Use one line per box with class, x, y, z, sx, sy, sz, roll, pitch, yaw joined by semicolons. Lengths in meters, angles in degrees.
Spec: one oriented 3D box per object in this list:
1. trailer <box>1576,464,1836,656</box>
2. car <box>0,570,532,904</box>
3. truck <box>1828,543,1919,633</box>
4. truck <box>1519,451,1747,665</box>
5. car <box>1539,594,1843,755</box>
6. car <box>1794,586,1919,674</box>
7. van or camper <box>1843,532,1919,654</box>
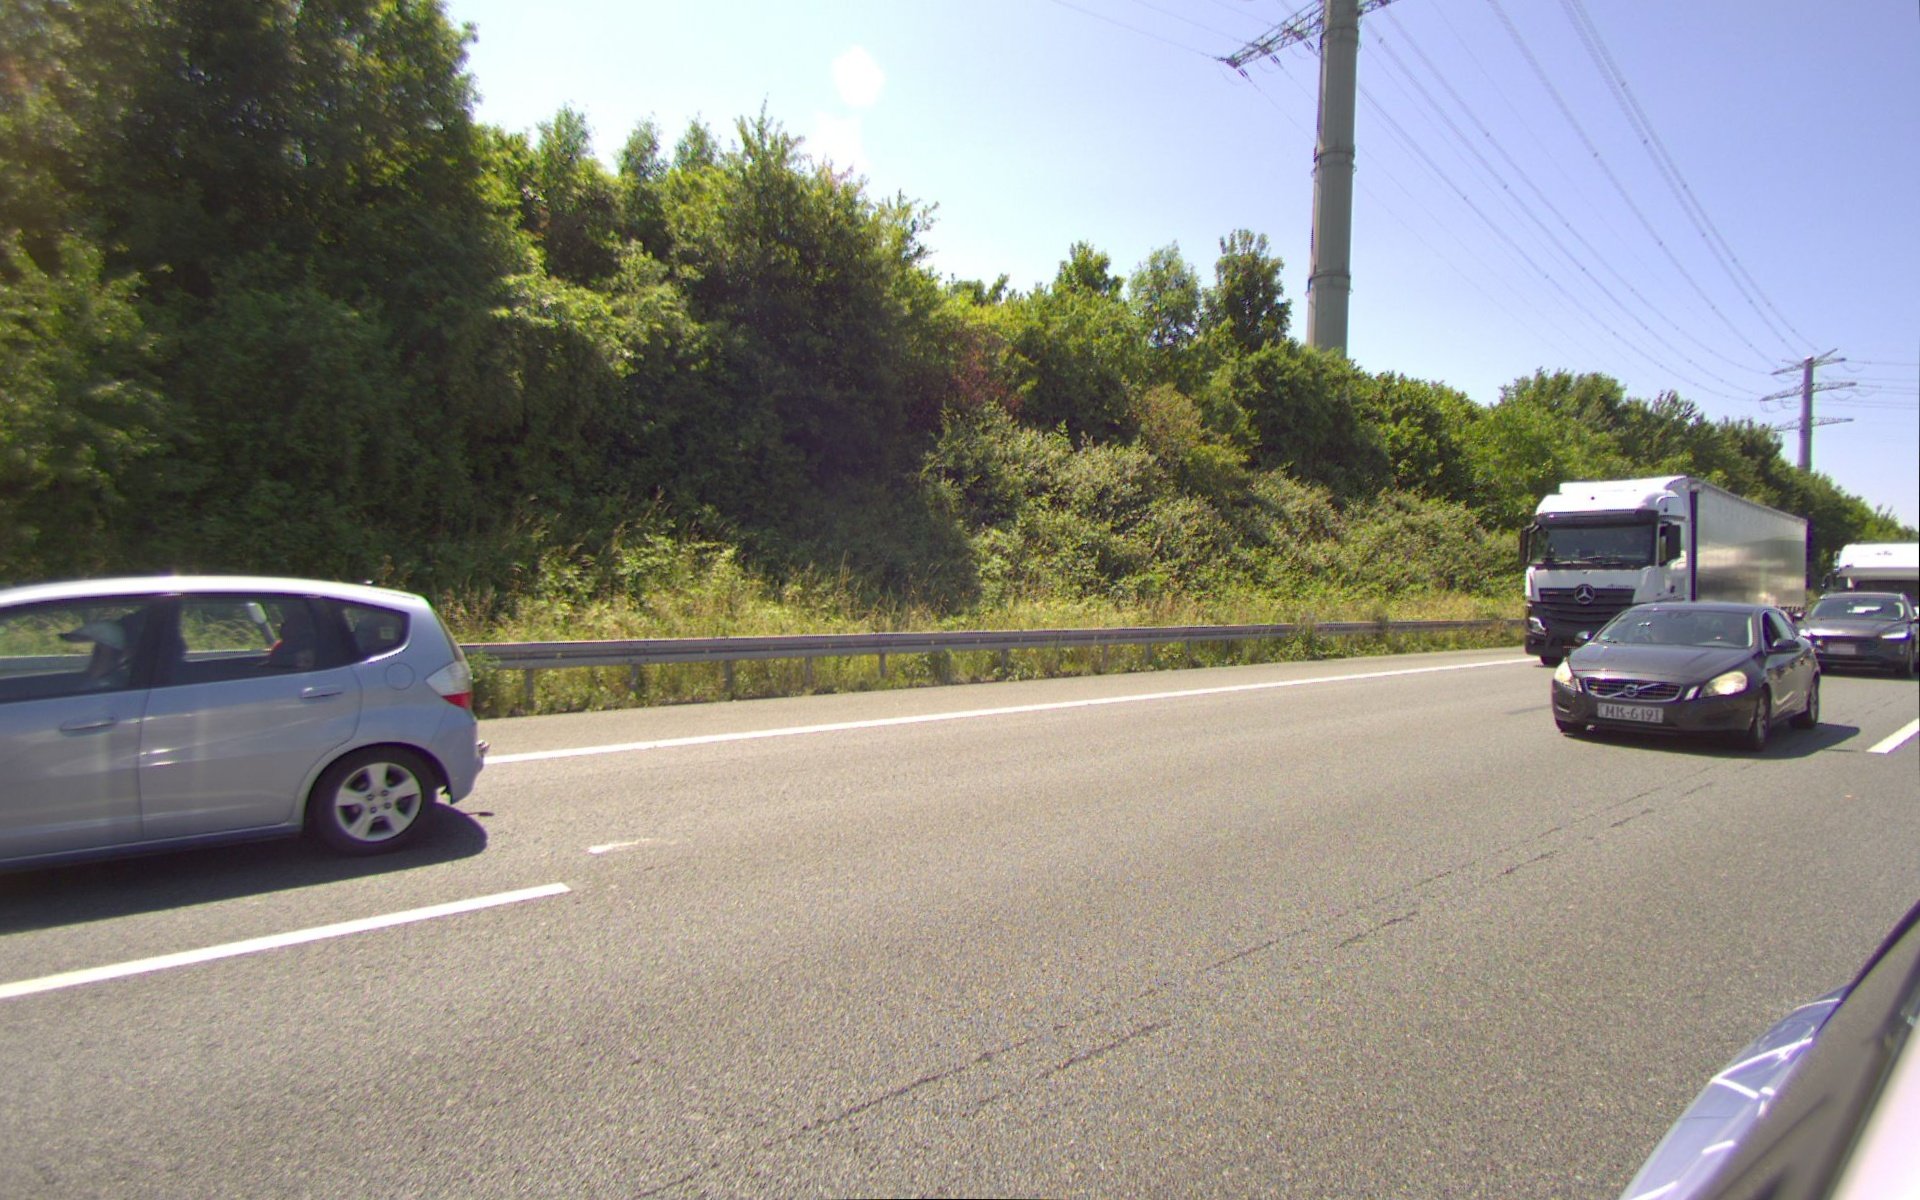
trailer;20.220;-0.919;26.892;12.882;4.098;2.788;-1;0;-41
car;-4.455;0.594;5.350;3.721;1.466;1.704;-1;0;-41
truck;45.605;-0.600;50.408;5.537;4.197;2.790;0;0;-40
truck;14.927;-0.831;22.310;5.692;4.098;2.738;0;0;-41
car;8.318;0.667;11.355;4.431;1.437;1.798;-1;0;-41
car;18.786;0.530;20.779;4.146;1.631;1.892;-1;0;-41
van or camper;26.941;-0.204;28.298;7.499;3.082;2.373;-1;0;-41
